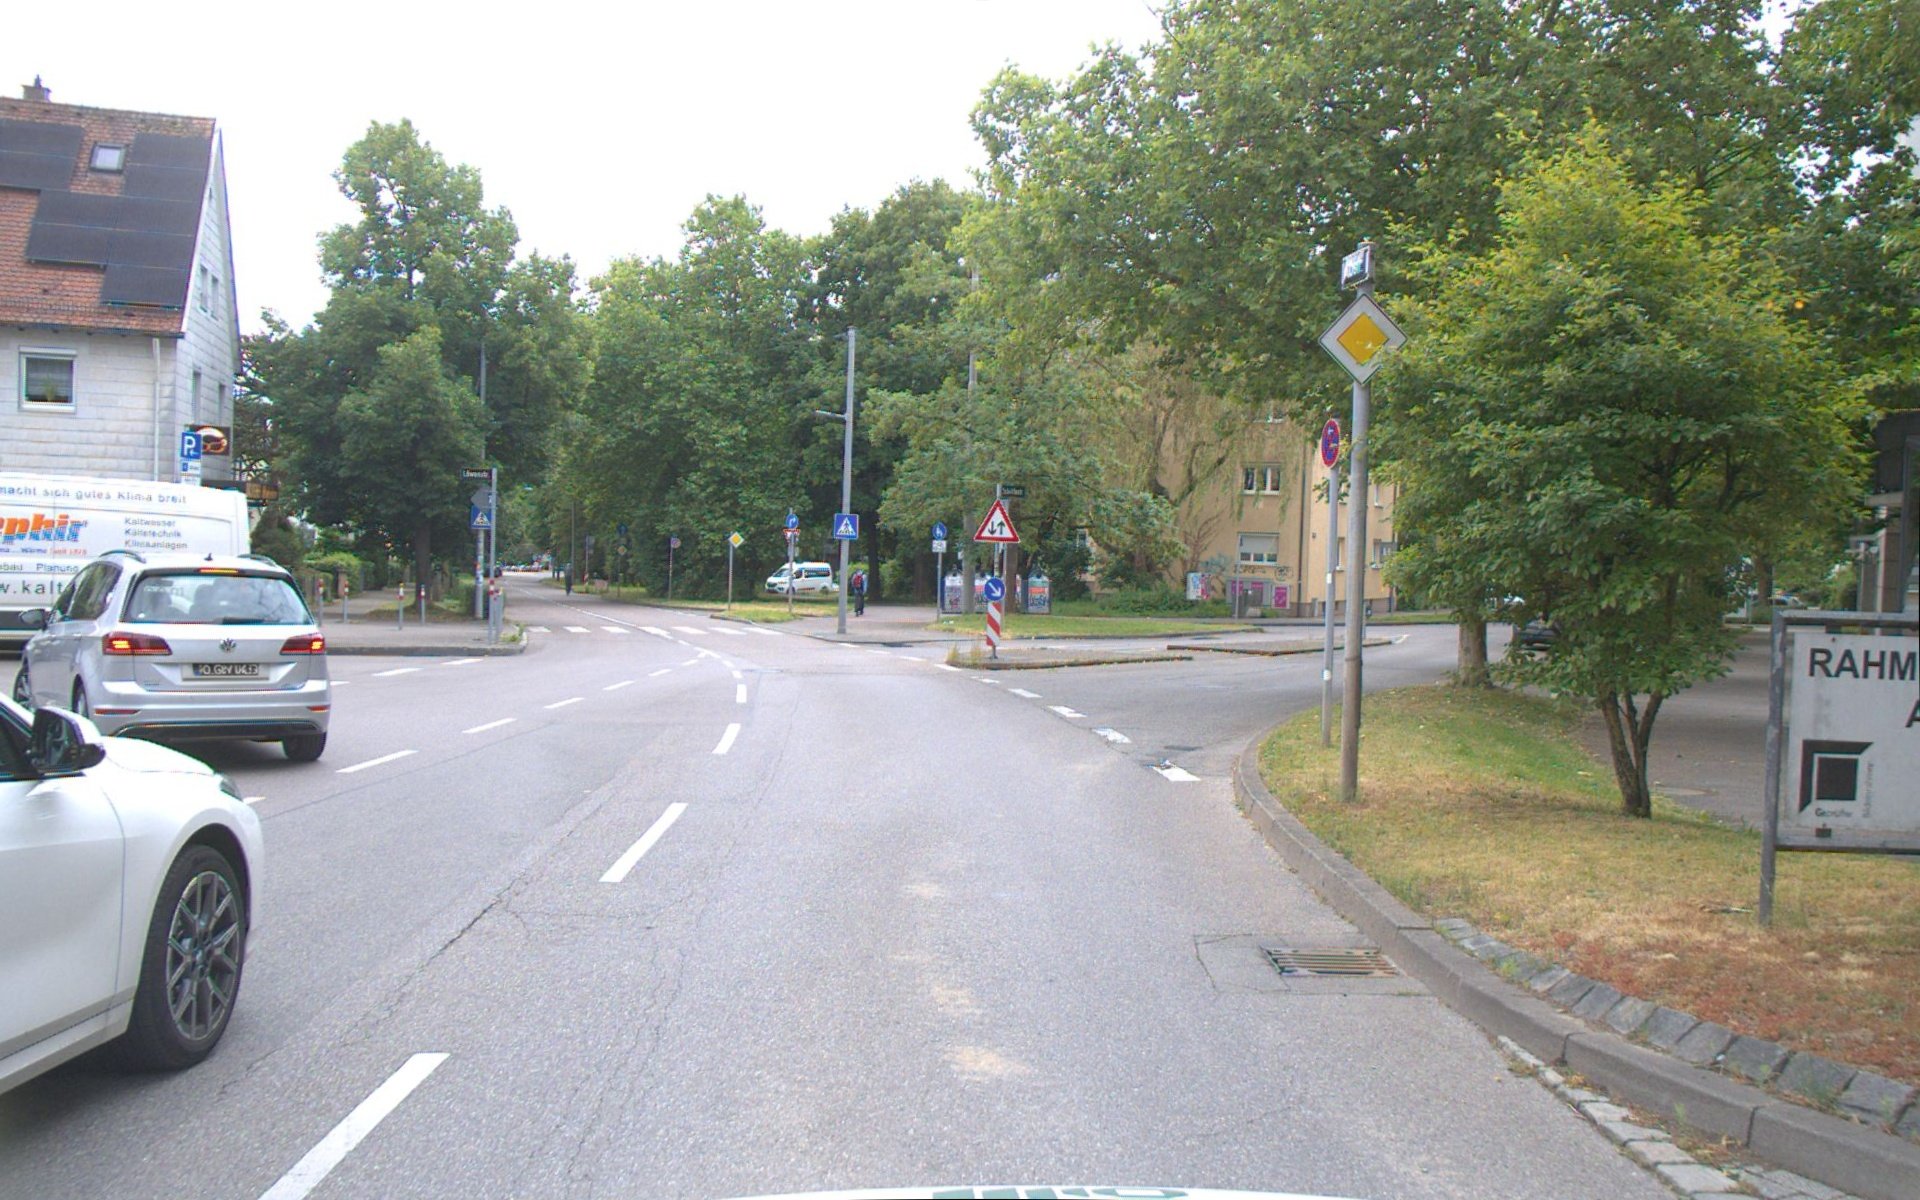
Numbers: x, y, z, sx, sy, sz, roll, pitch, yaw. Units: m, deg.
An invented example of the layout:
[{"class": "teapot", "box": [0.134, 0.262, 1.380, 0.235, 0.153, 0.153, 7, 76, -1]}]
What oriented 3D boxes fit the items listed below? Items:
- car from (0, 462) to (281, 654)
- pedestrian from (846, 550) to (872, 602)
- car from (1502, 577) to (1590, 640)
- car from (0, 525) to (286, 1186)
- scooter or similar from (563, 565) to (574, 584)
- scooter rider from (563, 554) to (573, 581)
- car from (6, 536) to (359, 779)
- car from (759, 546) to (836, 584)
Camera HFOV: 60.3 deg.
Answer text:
[{"class": "car", "box": [-13.367, -0.632, 23.010, 6.911, 2.565, 2.057, 1, 3, -39]}, {"class": "pedestrian", "box": [-3.841, -0.918, 63.037, 0.906, 1.903, 1.018, -2, 4, -5]}, {"class": "car", "box": [16.977, 0.225, 47.813, 1.839, 1.595, 4.015, 5, 2, 26]}, {"class": "car", "box": [-3.095, 0.581, 3.333, 1.759, 1.544, 4.207, 2, 1, -1]}, {"class": "scooter or similar", "box": [-23.255, -1.504, 98.179, 0.591, 1.073, 0.870, 0, 3, -15]}, {"class": "scooter rider", "box": [-23.291, -1.931, 98.304, 0.591, 1.579, 0.564, 0, 3, -15]}, {"class": "car", "box": [-6.383, 0.329, 13.338, 1.907, 1.601, 3.951, 0, 2, -35]}, {"class": "car", "box": [-11.190, -2.421, 114.296, 2.097, 2.336, 5.362, 6, 2, 37]}]
